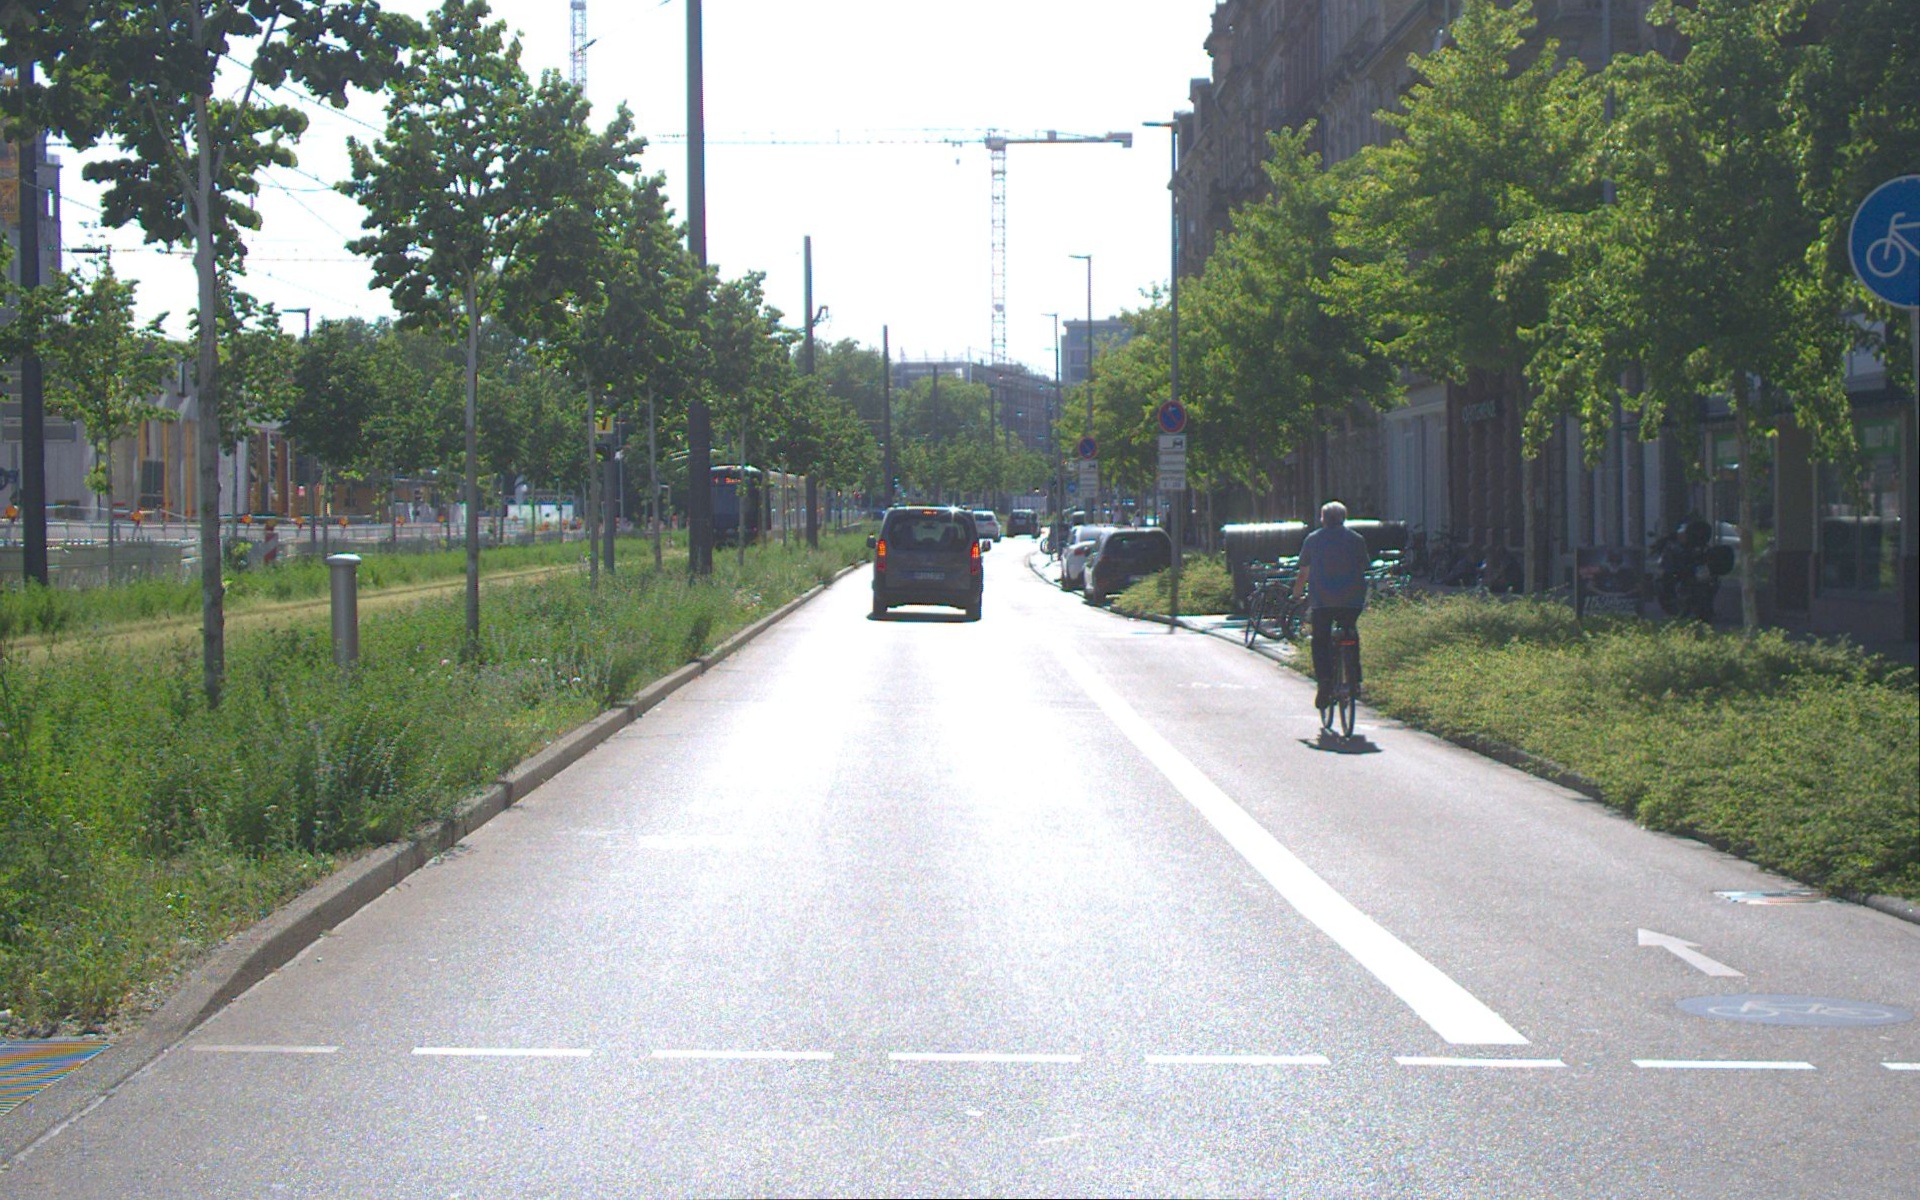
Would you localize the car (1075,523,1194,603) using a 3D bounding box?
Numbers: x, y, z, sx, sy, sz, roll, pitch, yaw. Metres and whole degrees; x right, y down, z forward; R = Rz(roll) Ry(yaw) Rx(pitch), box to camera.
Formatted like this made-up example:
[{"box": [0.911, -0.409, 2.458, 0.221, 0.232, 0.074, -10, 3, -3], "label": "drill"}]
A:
[{"box": [3.396, -0.762, 67.705, 2.028, 1.493, 4.654, -1, 1, -1], "label": "car"}]

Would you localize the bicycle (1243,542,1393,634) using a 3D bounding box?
[{"box": [4.595, -0.160, 44.181, 1.792, 1.027, 0.527, -5, 1, 0], "label": "bicycle"}]

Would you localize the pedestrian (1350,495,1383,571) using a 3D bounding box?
[{"box": [8.672, -1.436, 73.349, 0.614, 1.606, 0.669, -1, 1, -1], "label": "pedestrian"}]

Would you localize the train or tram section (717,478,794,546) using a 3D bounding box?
[{"box": [-8.662, -3.688, 146.378, 2.756, 2.733, 9.864, 1, 1, -1], "label": "train or tram section"}]

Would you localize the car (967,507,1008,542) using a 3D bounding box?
[{"box": [1.428, -3.915, 178.384, 1.993, 1.723, 4.000, 1, 1, -1], "label": "car"}]

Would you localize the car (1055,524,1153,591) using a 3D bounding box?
[{"box": [3.316, -1.015, 80.037, 2.028, 1.493, 4.530, -1, 1, -1], "label": "car"}]

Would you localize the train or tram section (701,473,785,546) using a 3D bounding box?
[{"box": [-8.559, -3.545, 136.560, 2.756, 2.733, 9.864, 1, 1, -1], "label": "train or tram section"}]

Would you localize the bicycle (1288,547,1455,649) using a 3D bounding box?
[{"box": [4.758, -0.022, 39.830, 1.792, 1.027, 0.527, -5, 1, 0], "label": "bicycle"}]

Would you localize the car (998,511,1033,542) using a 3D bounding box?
[{"box": [3.351, -4.446, 208.581, 1.993, 1.831, 4.000, 1, 1, -1], "label": "car"}]

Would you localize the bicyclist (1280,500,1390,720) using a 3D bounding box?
[{"box": [2.909, 0.064, 26.747, 0.684, 1.667, 0.922, 2, 1, -1], "label": "bicyclist"}]

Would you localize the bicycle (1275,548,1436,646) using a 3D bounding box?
[{"box": [4.737, -0.042, 41.204, 1.792, 1.027, 0.527, -5, 1, 0], "label": "bicycle"}]

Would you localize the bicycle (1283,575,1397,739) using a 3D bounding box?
[{"box": [2.925, 0.419, 26.626, 0.601, 1.177, 1.869, 2, 1, -1], "label": "bicycle"}]

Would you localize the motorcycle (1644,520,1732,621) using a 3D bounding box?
[{"box": [9.396, -0.393, 44.423, 0.700, 1.263, 1.982, -1, 2, -1], "label": "motorcycle"}]

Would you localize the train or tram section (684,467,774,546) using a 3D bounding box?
[{"box": [-8.453, -3.403, 126.714, 2.756, 2.733, 9.864, 1, 1, -1], "label": "train or tram section"}]

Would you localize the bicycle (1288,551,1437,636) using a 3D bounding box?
[{"box": [5.007, -0.084, 42.823, 1.792, 1.027, 0.527, -1, 1, 0], "label": "bicycle"}]

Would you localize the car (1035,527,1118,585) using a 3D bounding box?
[{"box": [3.108, -1.213, 92.564, 2.028, 1.493, 4.530, -1, 1, -1], "label": "car"}]

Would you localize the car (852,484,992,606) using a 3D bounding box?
[{"box": [-0.640, -0.932, 56.973, 2.200, 1.919, 4.654, -1, 1, -1], "label": "car"}]

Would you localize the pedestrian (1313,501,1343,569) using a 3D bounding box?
[{"box": [8.693, -1.545, 81.261, 0.614, 1.606, 0.669, -1, 1, -1], "label": "pedestrian"}]
